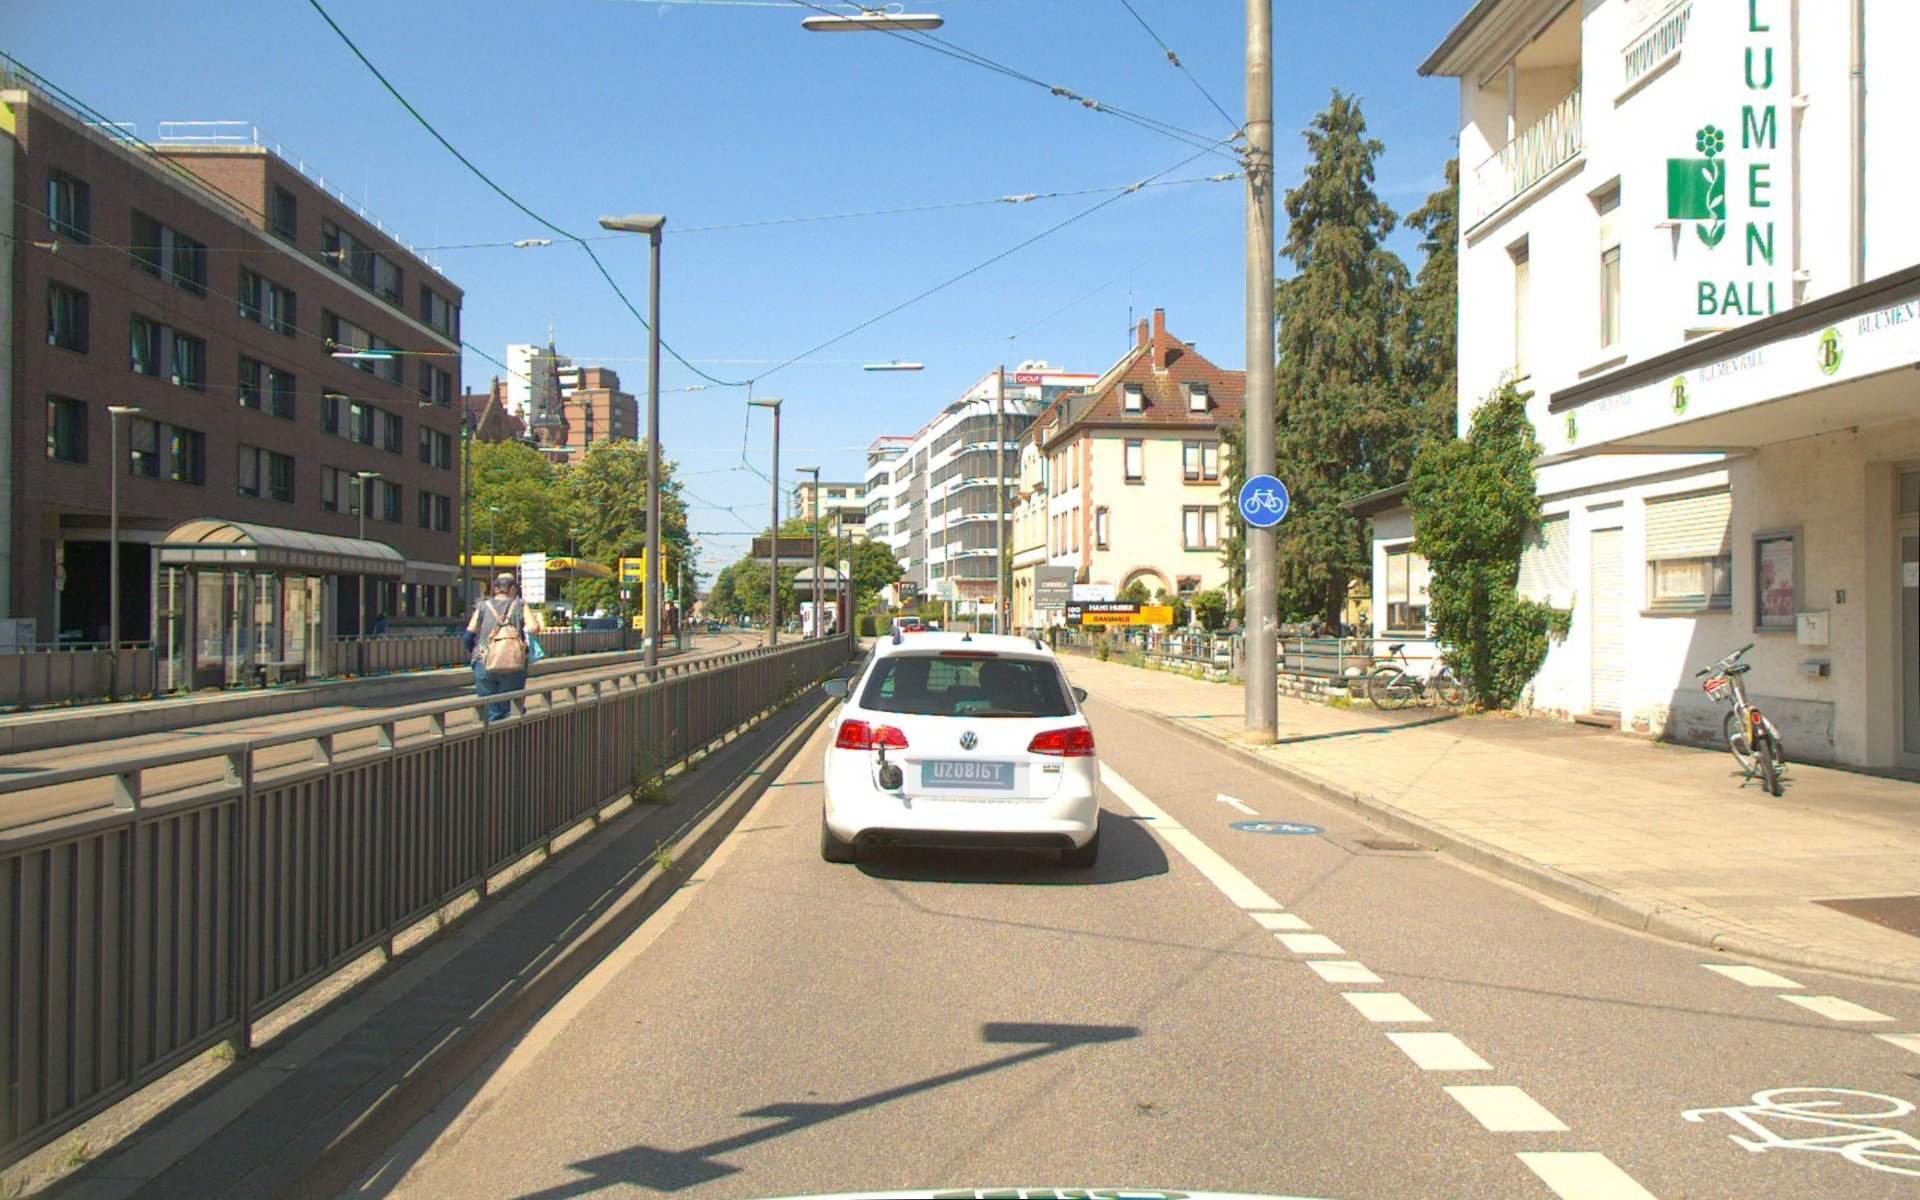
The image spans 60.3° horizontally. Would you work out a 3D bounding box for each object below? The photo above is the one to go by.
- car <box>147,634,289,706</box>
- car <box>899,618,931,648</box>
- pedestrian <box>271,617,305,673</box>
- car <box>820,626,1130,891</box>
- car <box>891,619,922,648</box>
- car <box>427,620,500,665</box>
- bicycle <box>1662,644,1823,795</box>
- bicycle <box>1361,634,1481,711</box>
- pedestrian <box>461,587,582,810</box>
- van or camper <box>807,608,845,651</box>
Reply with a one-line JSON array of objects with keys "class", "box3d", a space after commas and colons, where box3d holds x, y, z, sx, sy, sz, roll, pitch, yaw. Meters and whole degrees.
[{"class": "car", "box3d": [-16.473, 1.524, 36.914, 1.541, 1.485, 3.932, -1, -1, -3]}, {"class": "car", "box3d": [-3.157, 2.319, 115.710, 1.955, 2.049, 3.995, 0, -1, -6]}, {"class": "pedestrian", "box3d": [-22.002, 1.465, 54.141, 0.710, 1.822, 0.964, -1, -1, -2]}, {"class": "car", "box3d": [0.051, 0.931, 11.295, 1.717, 1.442, 3.851, 2, -1, -1]}, {"class": "car", "box3d": [-3.953, 2.419, 121.107, 1.955, 2.049, 3.995, 0, -1, -6]}, {"class": "car", "box3d": [-17.120, 1.432, 57.155, 1.541, 1.485, 3.735, -1, -1, -3]}, {"class": "bicycle", "box3d": [6.683, 0.980, 14.242, 0.710, 1.159, 2.196, -1, -1, 11]}, {"class": "bicycle", "box3d": [7.049, 1.108, 25.334, 1.677, 1.150, 0.525, -1, -1, 0]}, {"class": "pedestrian", "box3d": [-3.741, 0.825, 14.168, 0.810, 1.841, 0.833, -1, -1, -1]}, {"class": "van or camper", "box3d": [-10.534, 2.296, 130.138, 2.886, 3.236, 6.605, 0, -1, -5]}]
